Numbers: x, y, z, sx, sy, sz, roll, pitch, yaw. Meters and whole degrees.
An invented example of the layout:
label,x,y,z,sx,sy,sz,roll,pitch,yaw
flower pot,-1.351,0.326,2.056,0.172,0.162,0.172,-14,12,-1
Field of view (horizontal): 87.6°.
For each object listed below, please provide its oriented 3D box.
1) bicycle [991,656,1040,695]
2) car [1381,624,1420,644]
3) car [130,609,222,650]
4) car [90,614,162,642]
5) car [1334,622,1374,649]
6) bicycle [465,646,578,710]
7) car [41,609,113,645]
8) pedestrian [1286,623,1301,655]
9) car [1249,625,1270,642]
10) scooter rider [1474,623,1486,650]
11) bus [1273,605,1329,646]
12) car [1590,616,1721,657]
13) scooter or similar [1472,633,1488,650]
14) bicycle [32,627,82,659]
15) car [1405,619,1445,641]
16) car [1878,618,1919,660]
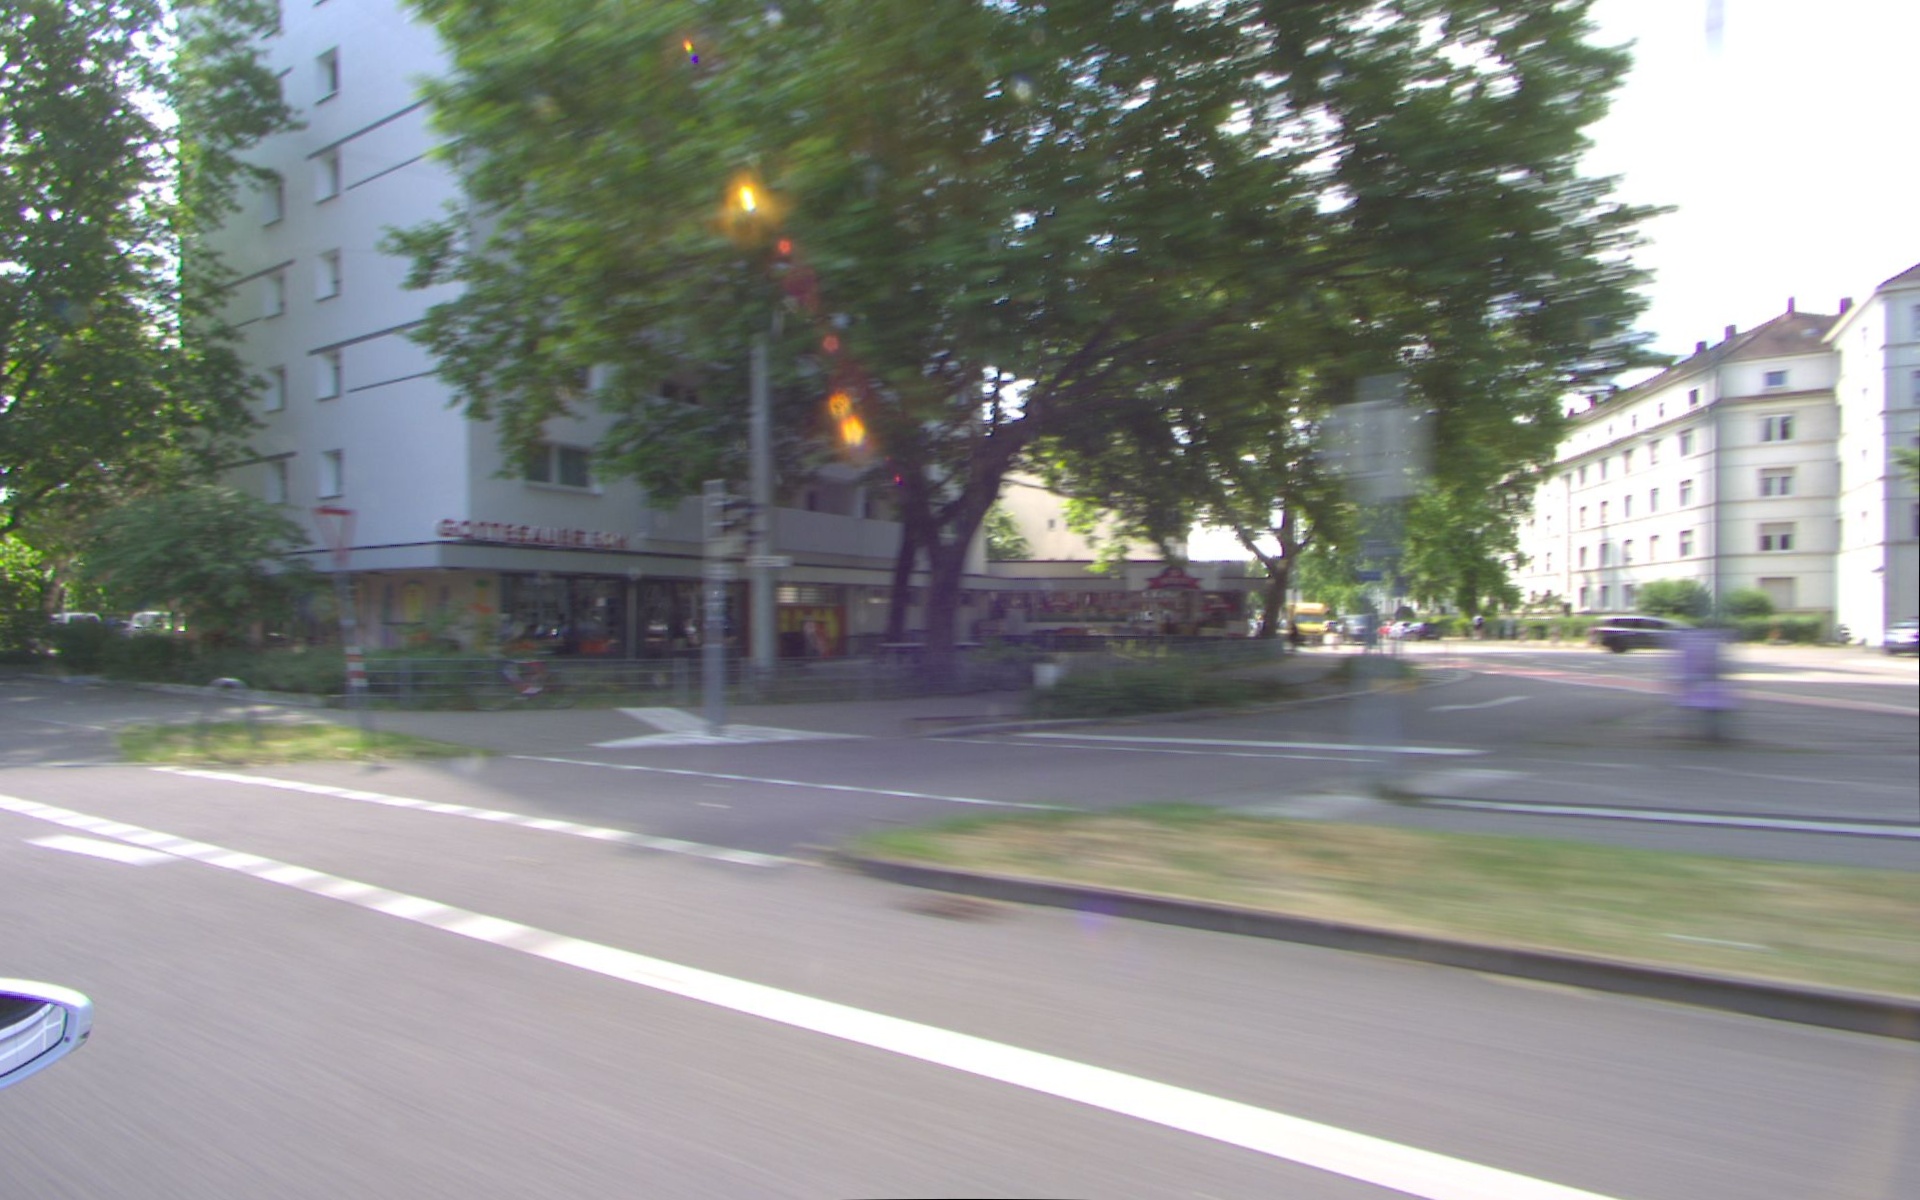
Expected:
label,x,y,z,sx,sy,sz,roll,pitch,yaw
bicycle,1.222,1.639,21.958,1.199,0.807,0.295,1,-1,-41
car,34.545,2.663,78.657,1.764,1.545,3.679,0,-1,5
car,-35.985,1.340,45.944,4.701,1.778,1.734,-1,-1,30
car,-44.779,1.483,53.747,3.989,1.420,1.804,-1,-1,32
car,26.260,2.332,66.873,1.832,1.683,3.747,0,-1,11
bicycle,-7.425,1.302,16.971,1.704,1.022,0.531,1,-1,-31
car,-45.813,1.392,51.950,4.279,1.838,1.803,-1,-1,34
pedestrian,15.740,1.819,47.288,0.659,1.498,0.575,1,0,16
car,29.848,3.326,99.904,1.702,1.683,3.747,0,-1,11
scooter rider,35.609,2.474,68.597,0.518,1.836,0.649,0,0,7
bus,23.667,1.789,69.693,2.355,2.744,6.371,0,-1,6
car,29.518,1.508,42.592,1.771,1.683,4.282,0,-1,-38
scooter or similar,35.606,2.853,68.547,0.540,1.106,1.291,0,0,7
bicycle,-31.563,1.504,35.008,1.808,1.087,0.606,0,0,23
car,34.099,2.217,73.522,1.697,1.574,3.633,0,-1,9
car,37.231,1.459,38.050,3.402,1.558,1.696,0,0,-8
